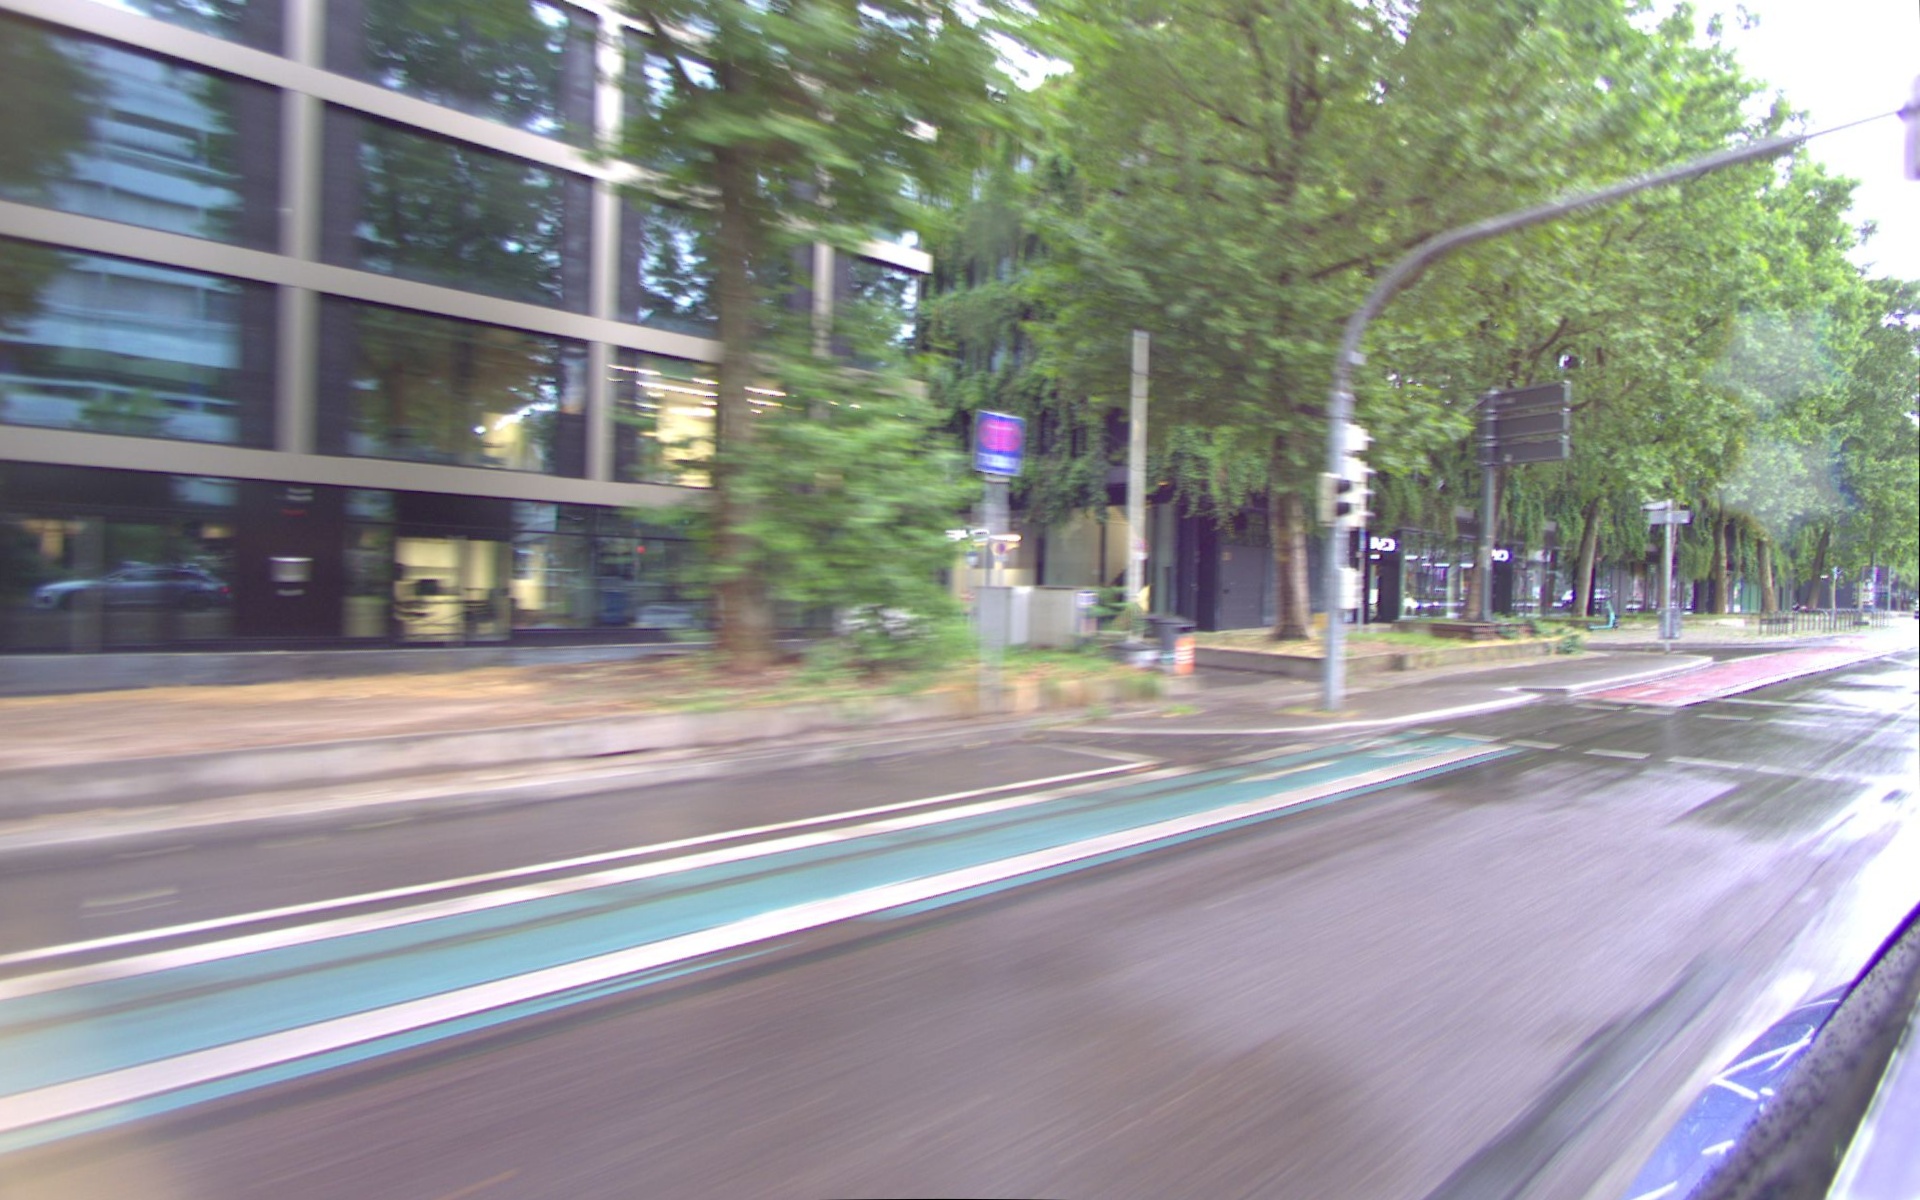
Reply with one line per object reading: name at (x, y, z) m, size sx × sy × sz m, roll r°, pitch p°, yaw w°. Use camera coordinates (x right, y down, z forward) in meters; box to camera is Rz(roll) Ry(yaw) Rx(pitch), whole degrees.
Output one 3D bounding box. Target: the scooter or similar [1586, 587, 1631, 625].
scooter or similar at (22.452, 0.216, 35.042) m, size 1.165 × 1.298 × 0.535 m, roll -1°, pitch 0°, yaw 9°
